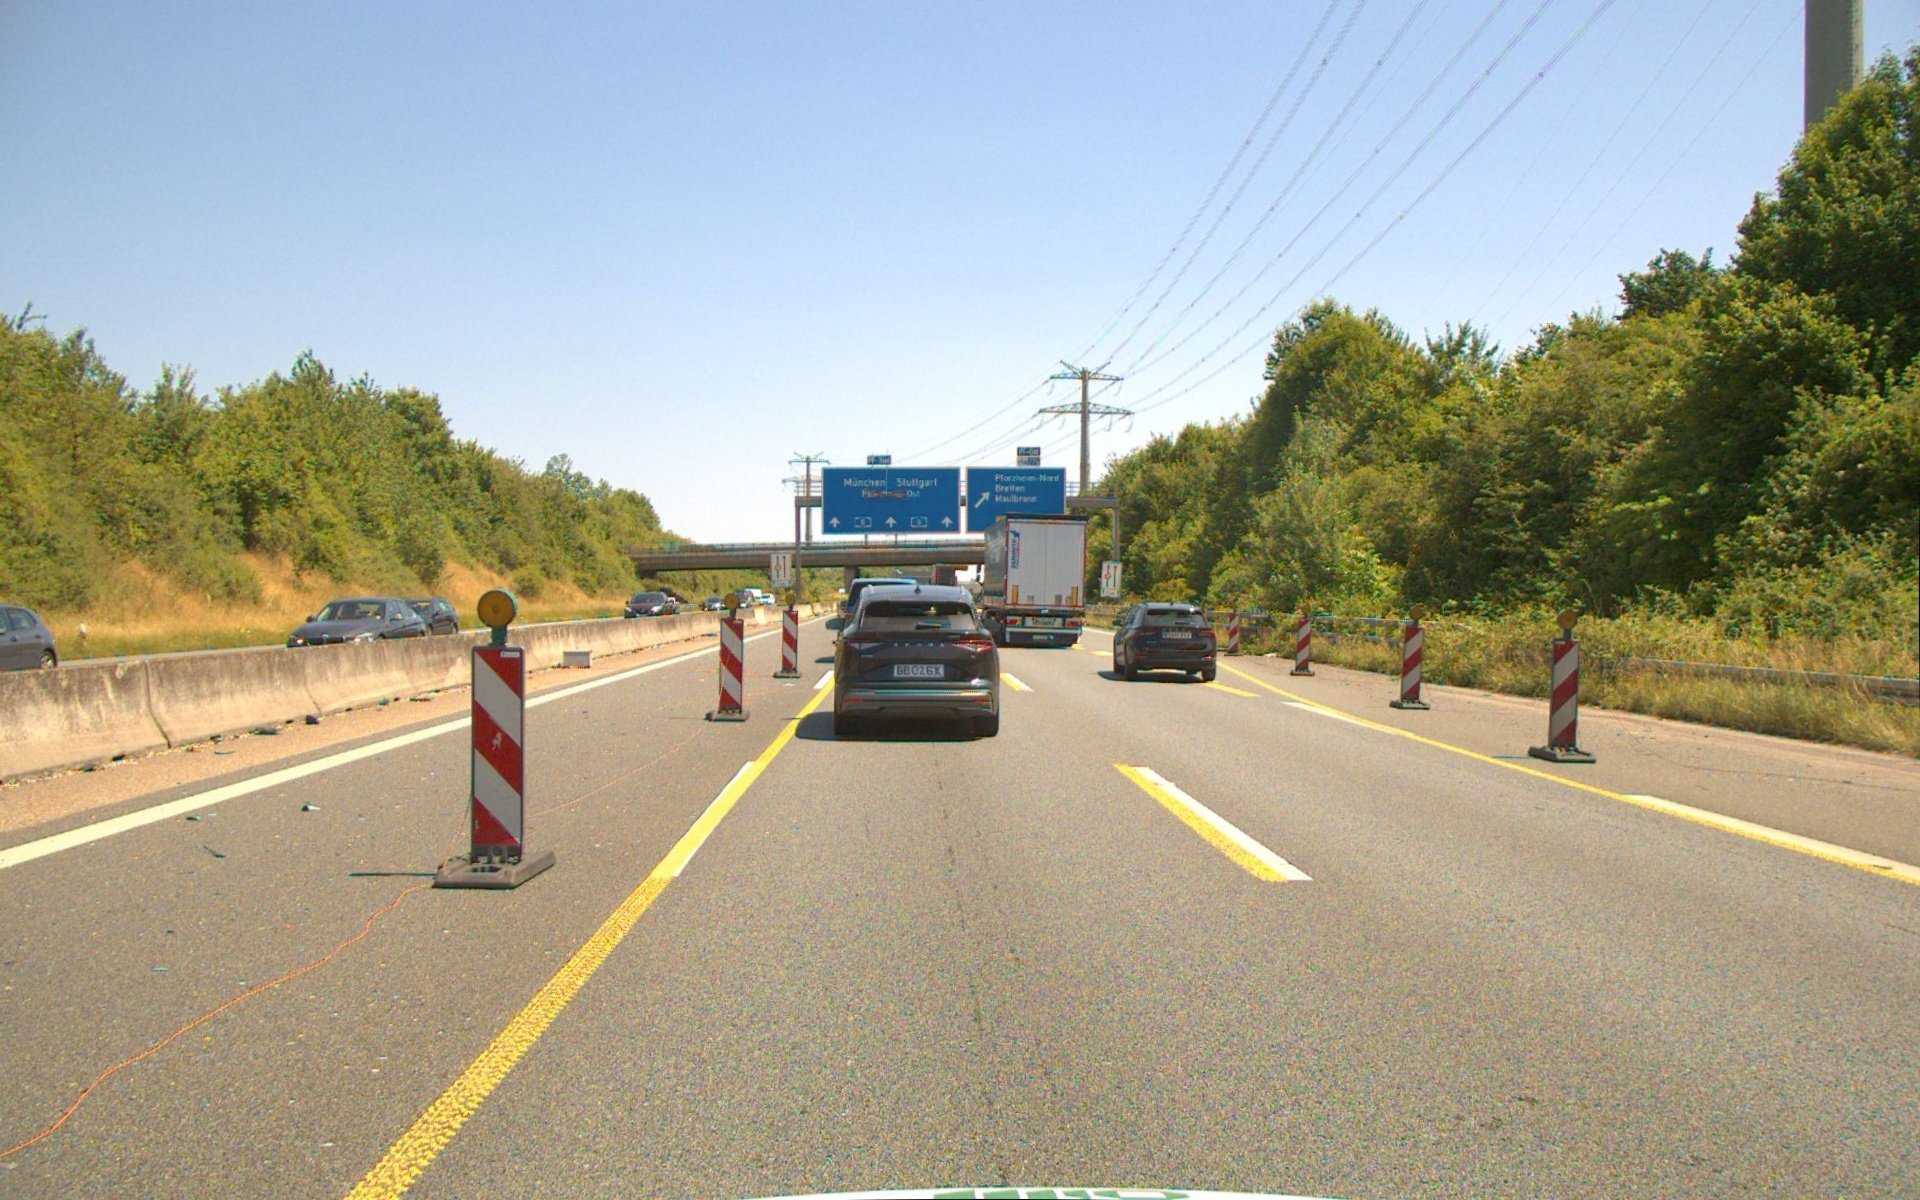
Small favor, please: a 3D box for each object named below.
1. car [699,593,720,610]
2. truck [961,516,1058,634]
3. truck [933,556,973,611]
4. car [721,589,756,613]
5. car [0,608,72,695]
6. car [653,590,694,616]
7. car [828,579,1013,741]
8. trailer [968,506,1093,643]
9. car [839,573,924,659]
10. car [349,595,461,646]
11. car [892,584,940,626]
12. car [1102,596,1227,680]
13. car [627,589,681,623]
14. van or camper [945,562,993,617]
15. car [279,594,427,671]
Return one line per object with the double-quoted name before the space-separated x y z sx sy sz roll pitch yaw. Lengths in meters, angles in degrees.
"car" -24.315 0.151 160.687 1.469 1.575 3.999 0 0 -2
"truck" 1.771 -0.894 62.762 2.964 4.158 7.790 1 0 -3
"truck" -0.655 -1.282 136.235 3.015 4.219 13.051 2 0 -1
"car" -15.338 0.074 114.563 1.953 1.628 4.581 -1 0 -2
"car" -16.660 0.870 27.817 1.473 1.421 4.086 -1 0 -4
"car" -16.816 0.177 97.113 1.812 1.486 4.486 -1 0 -3
"car" -0.514 0.592 19.121 1.858 1.620 4.440 1 0 -3
"trailer" 2.171 -0.800 55.835 3.004 4.113 11.480 1 0 -3
"car" -1.837 0.330 38.677 1.858 1.873 4.440 0 0 -3
"car" -17.248 0.596 51.640 1.953 1.486 4.586 -1 0 -1
"car" -1.896 0.176 69.652 1.858 1.535 4.441 3 2 -3
"car" 3.978 0.697 32.828 1.743 1.515 4.462 2 0 -2
"car" -13.923 0.274 75.502 1.812 1.486 4.486 -1 0 -3
"van or camper" 0.504 -0.627 99.136 2.534 3.019 6.083 4 0 -1
"car" -12.404 0.622 34.036 1.583 1.467 3.989 -1 0 -1
